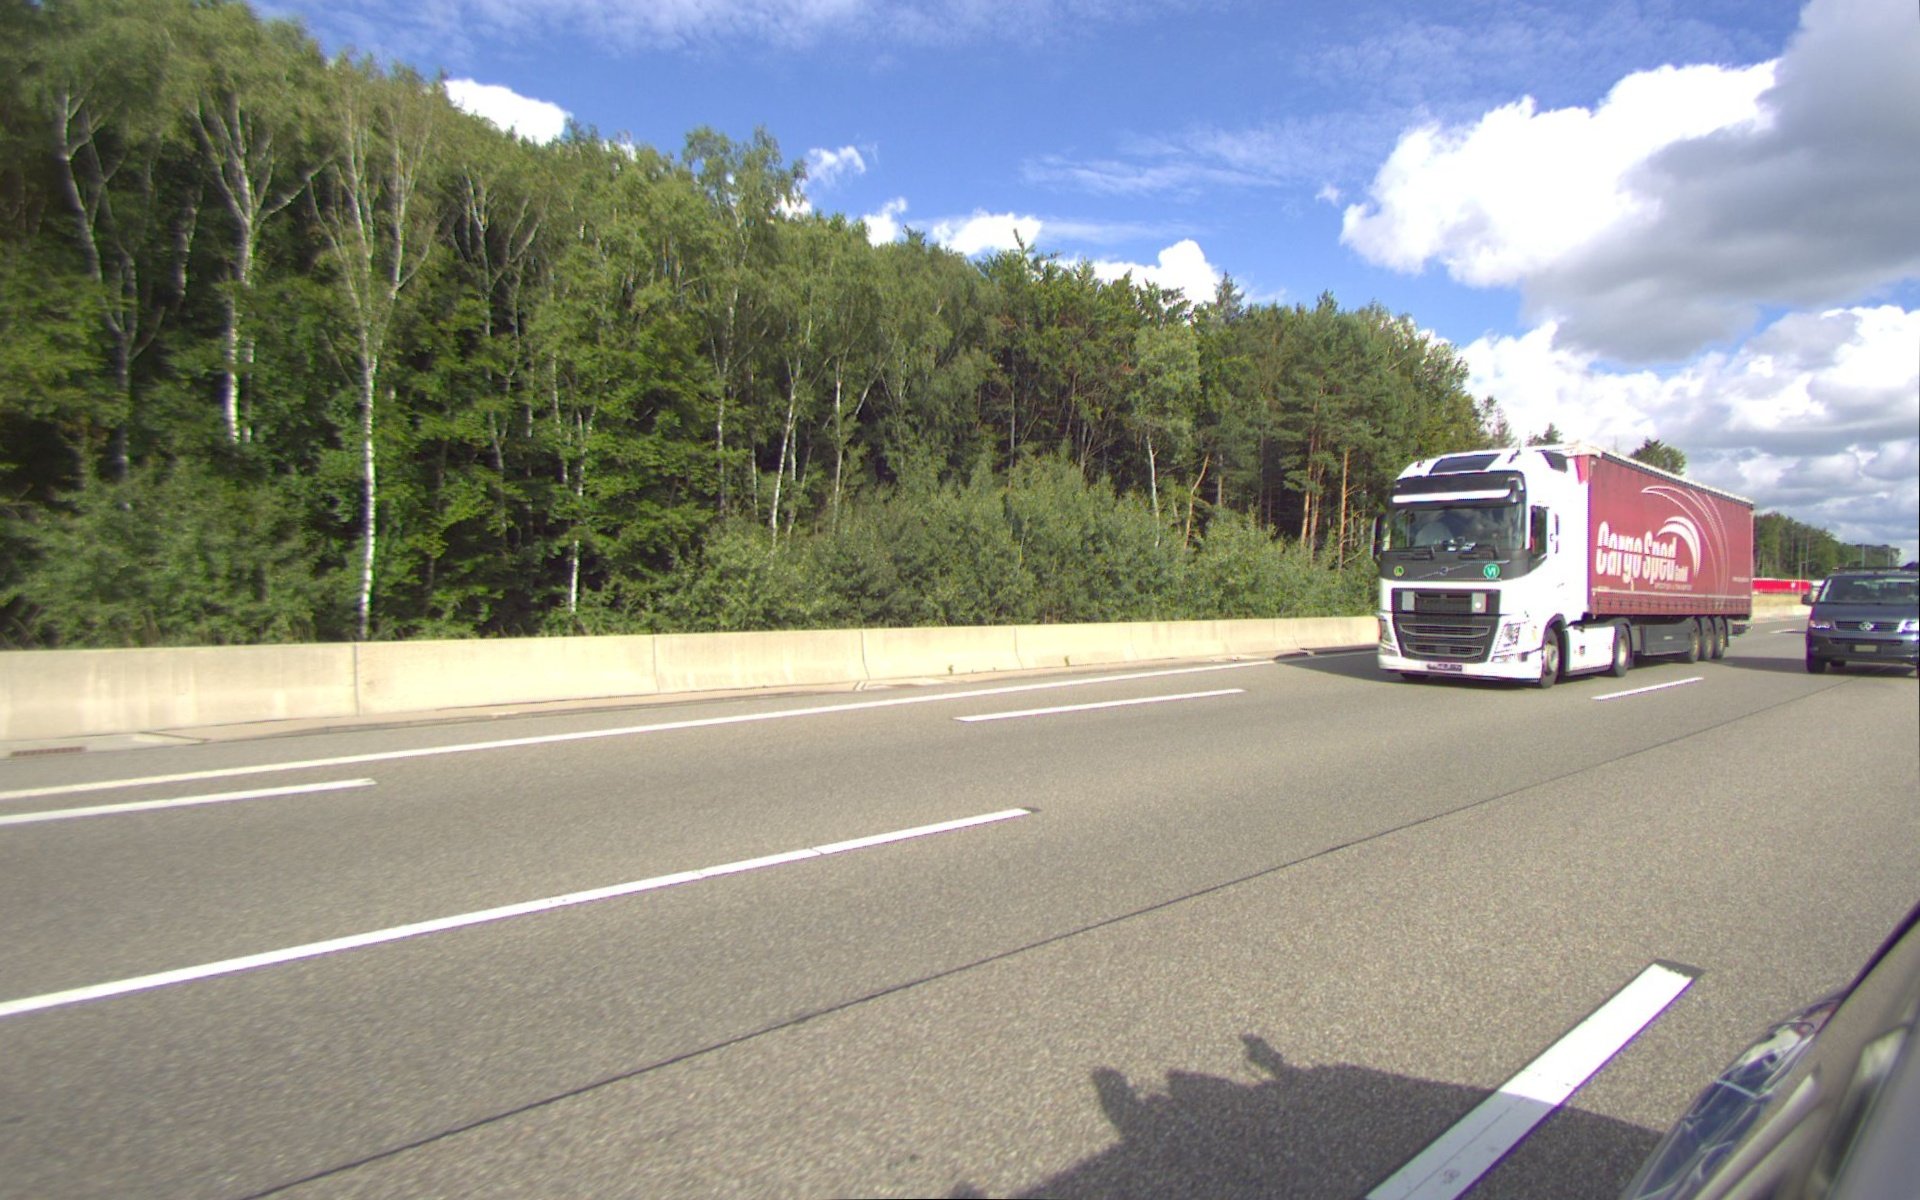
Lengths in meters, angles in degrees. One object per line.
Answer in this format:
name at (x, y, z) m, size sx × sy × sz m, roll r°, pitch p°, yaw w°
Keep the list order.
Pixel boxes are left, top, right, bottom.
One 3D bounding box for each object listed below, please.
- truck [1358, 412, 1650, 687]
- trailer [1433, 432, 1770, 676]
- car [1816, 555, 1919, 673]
truck at (9.814, -0.780, 18.050) m, size 5.672 × 4.096 × 2.779 m, roll 0°, pitch 0°, yaw -41°
trailer at (14.877, -0.819, 22.560) m, size 13.476 × 4.096 × 2.778 m, roll 0°, pitch 1°, yaw -42°
car at (18.840, 0.240, 20.366) m, size 4.848 × 2.136 × 1.851 m, roll 0°, pitch 0°, yaw -42°
